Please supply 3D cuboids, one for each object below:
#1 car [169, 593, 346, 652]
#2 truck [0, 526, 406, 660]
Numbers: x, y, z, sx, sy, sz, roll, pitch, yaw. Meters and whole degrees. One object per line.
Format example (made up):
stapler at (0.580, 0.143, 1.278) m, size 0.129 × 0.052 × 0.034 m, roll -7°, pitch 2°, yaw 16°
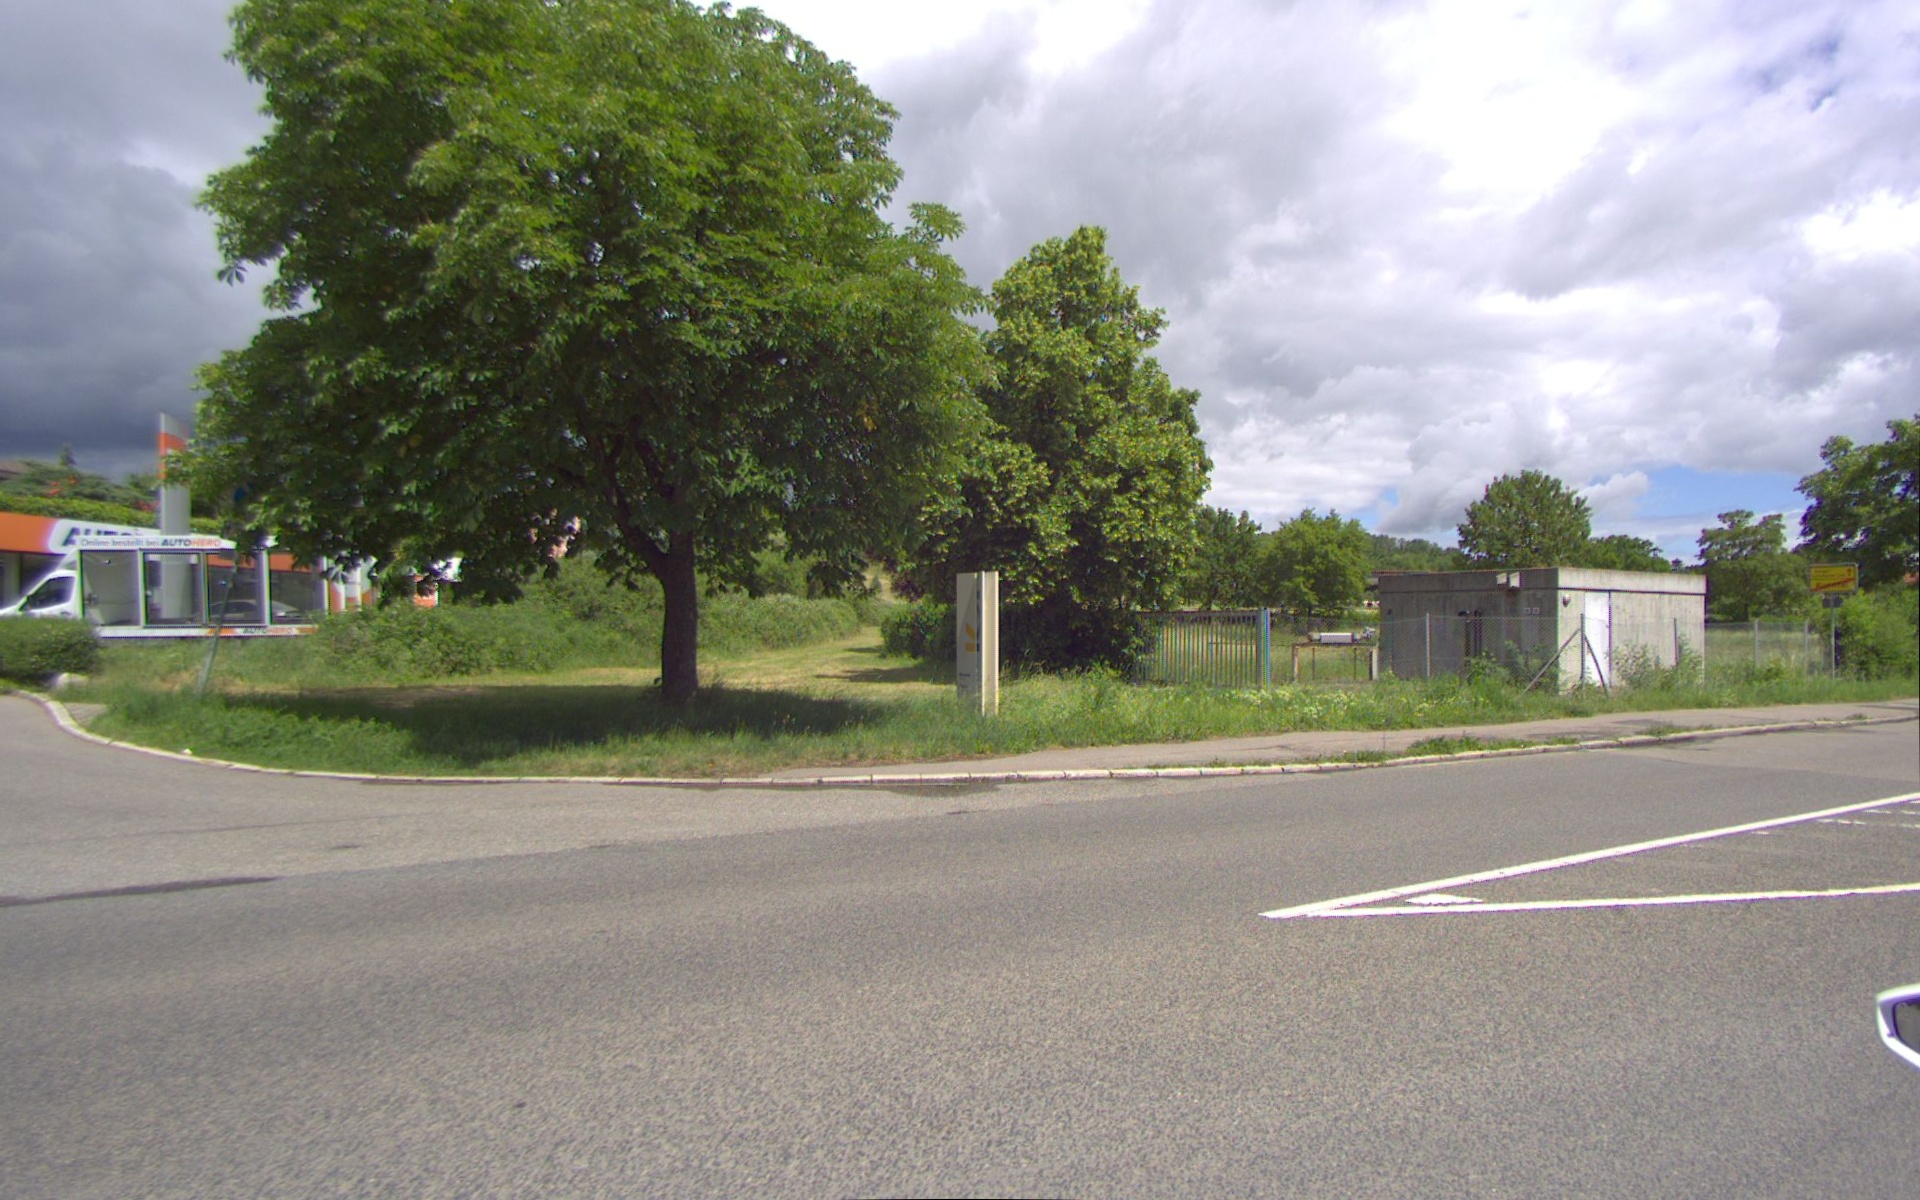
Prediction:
car at (-23.472, 0.770, 33.673) m, size 4.582 × 1.870 × 1.833 m, roll 1°, pitch -1°, yaw 0°
truck at (-18.849, -0.101, 24.966) m, size 8.430 × 3.089 × 2.663 m, roll 1°, pitch -2°, yaw -7°
